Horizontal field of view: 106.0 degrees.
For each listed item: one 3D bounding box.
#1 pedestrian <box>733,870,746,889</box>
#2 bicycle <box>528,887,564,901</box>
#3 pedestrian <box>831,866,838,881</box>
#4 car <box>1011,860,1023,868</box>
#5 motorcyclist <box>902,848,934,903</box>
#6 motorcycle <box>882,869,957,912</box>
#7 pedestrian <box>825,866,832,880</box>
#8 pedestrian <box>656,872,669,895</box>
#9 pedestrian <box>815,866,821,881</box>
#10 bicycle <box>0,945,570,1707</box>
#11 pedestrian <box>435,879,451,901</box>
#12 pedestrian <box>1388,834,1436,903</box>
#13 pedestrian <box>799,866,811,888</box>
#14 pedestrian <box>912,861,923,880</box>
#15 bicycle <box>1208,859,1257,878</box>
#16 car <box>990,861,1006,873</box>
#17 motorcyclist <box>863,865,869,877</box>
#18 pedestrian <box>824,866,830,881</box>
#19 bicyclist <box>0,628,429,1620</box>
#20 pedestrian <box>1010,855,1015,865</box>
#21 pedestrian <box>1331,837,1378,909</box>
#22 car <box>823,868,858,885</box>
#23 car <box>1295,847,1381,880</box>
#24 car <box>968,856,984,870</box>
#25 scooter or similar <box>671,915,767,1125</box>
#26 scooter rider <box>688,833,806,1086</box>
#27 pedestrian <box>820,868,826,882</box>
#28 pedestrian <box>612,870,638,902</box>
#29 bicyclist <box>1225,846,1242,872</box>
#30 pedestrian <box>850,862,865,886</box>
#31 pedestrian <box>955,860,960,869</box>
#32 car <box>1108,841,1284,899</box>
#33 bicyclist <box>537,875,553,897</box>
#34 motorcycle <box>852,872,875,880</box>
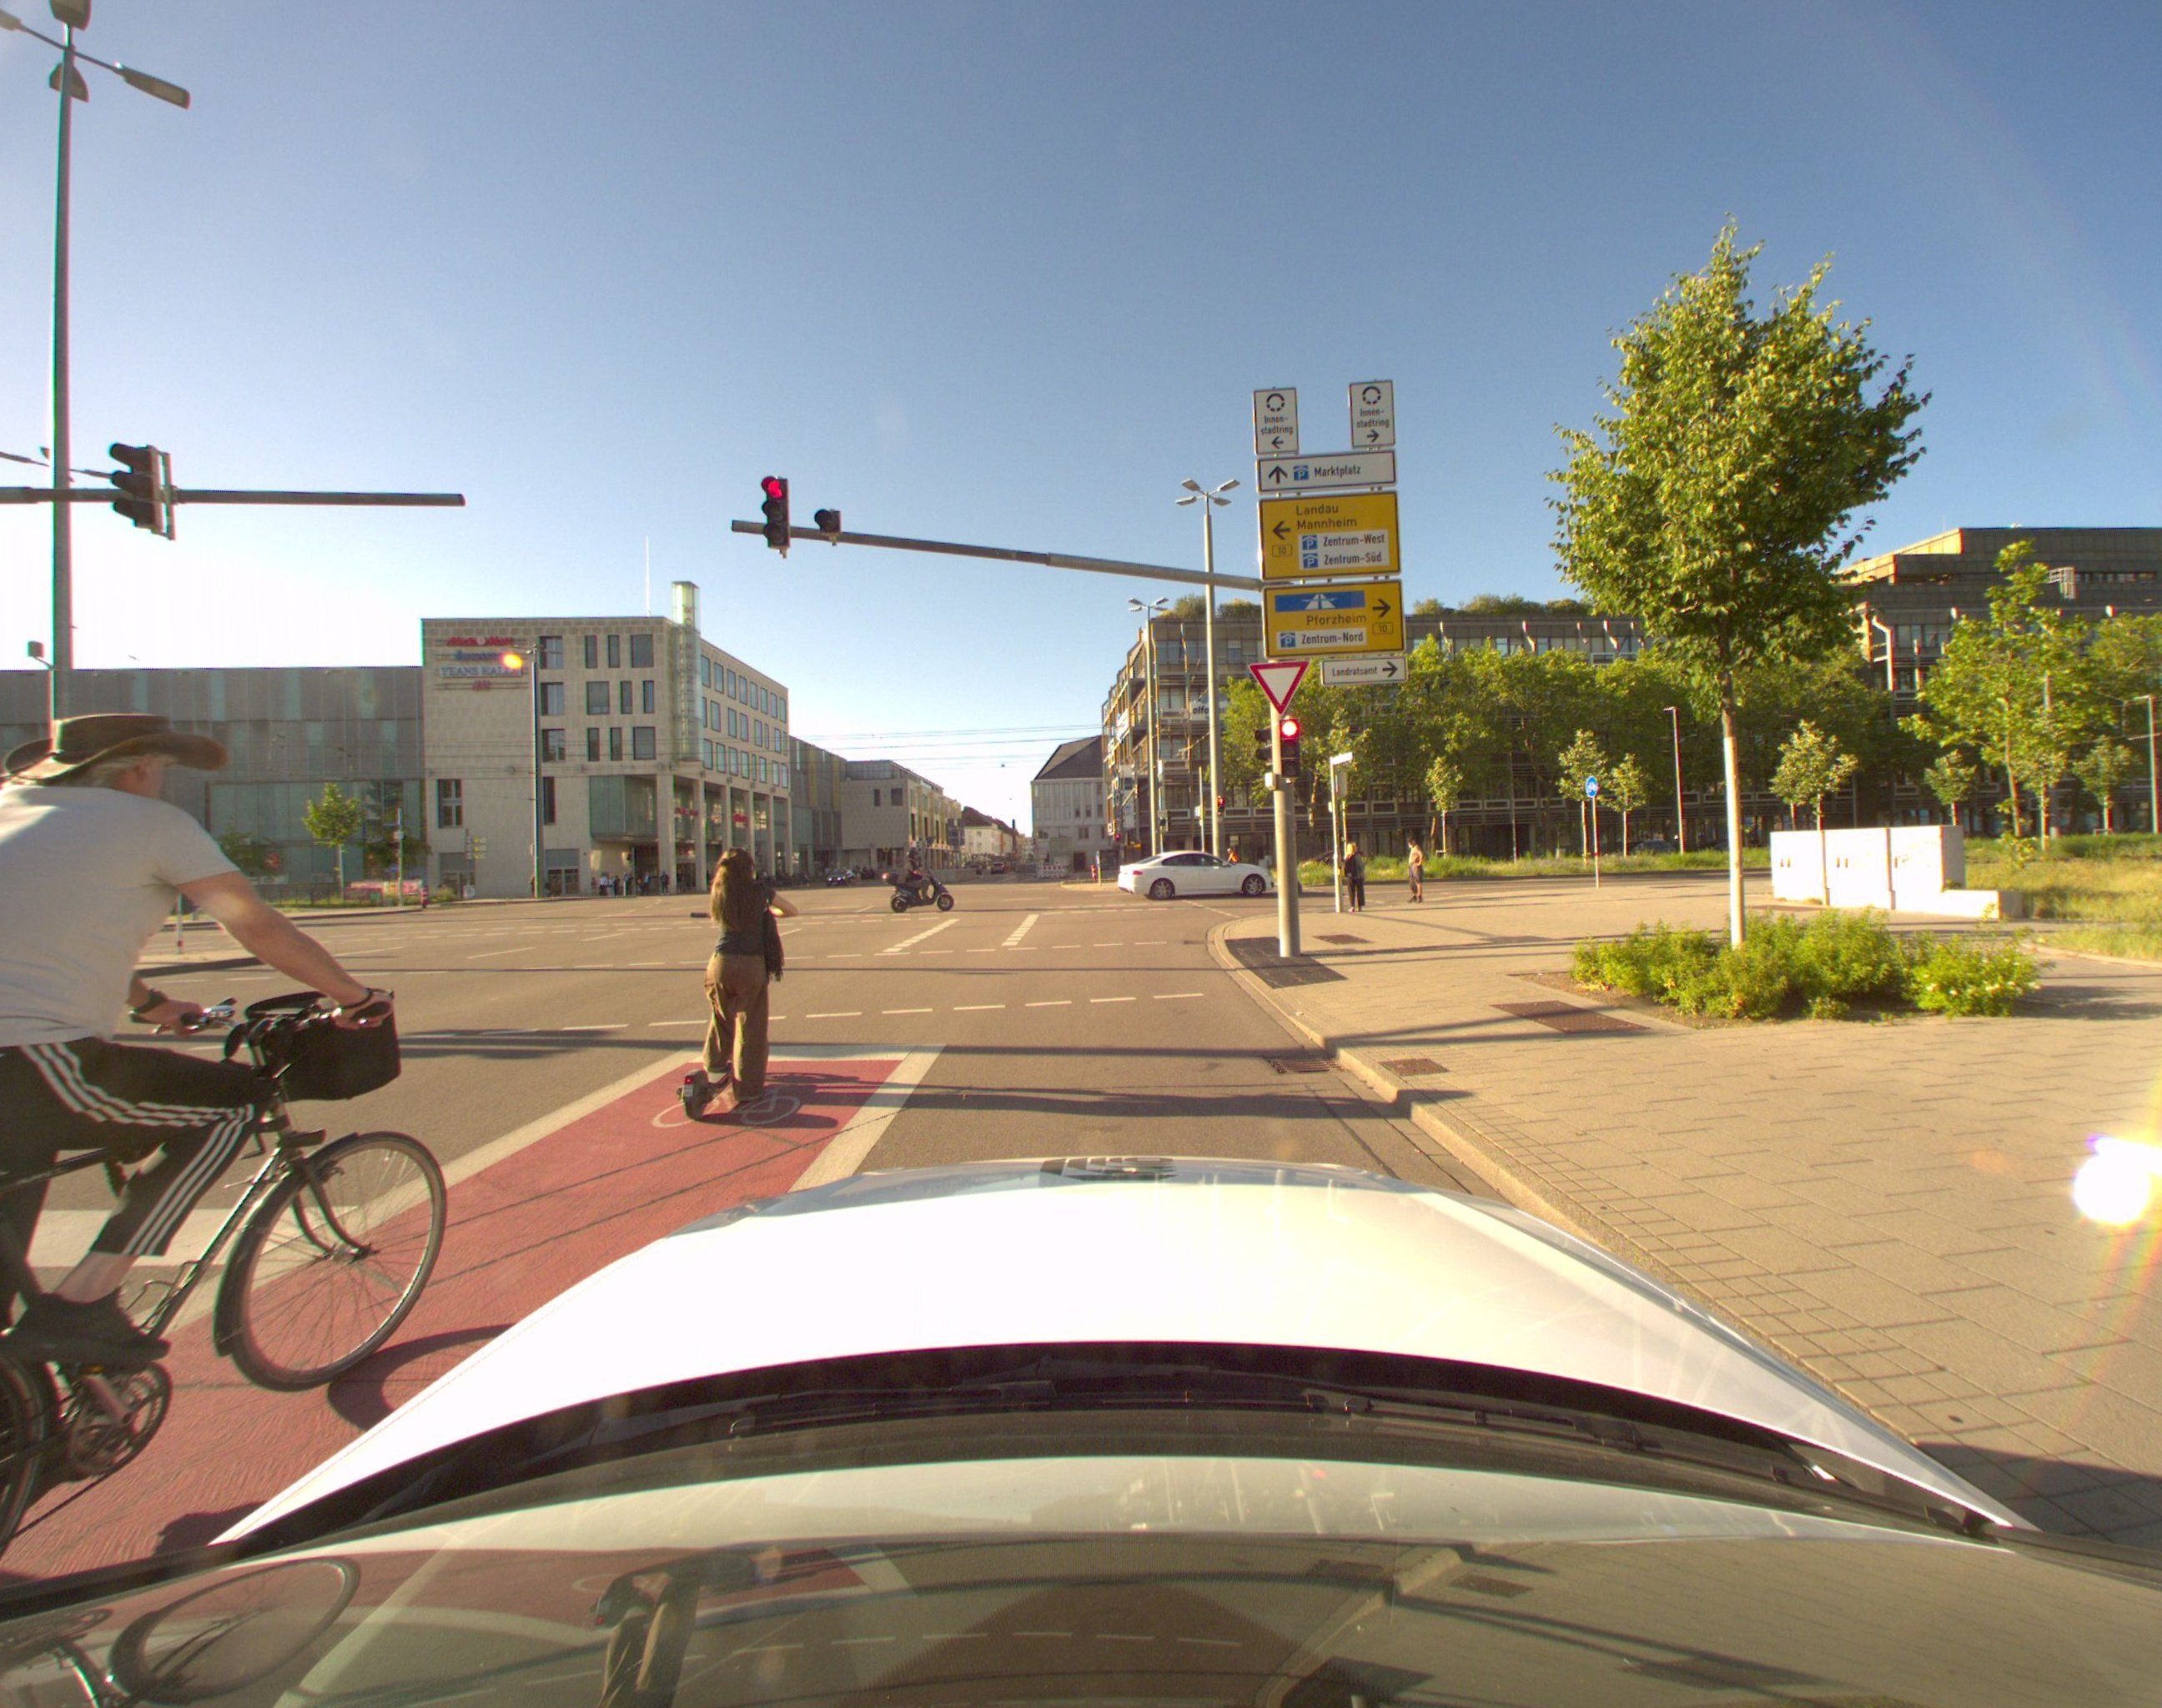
[{"bbox_3d":[-29.695,2.191,70.863,0.771,1.638,0.628,-2,0,13],"label":"pedestrian"},{"bbox_3d":[-36.101,2.689,54.948,2.196,0.903,0.639,-2,0,11],"label":"bicycle"},{"bbox_3d":[-30.077,2.376,99.497,0.465,1.729,0.699,-1,-1,40],"label":"pedestrian"},{"bbox_3d":[-11.470,1.807,146.368,1.652,1.458,3.543,-2,0,2],"label":"car"},{"bbox_3d":[-4.485,0.591,22.445,0.748,1.479,0.598,-2,0,-6],"label":"motorcyclist"},{"bbox_3d":[-4.430,0.991,22.442,1.952,1.100,0.648,-2,0,-6],"label":"motorcycle"},{"bbox_3d":[-31.378,2.399,101.153,0.465,1.729,0.632,-1,-1,30],"label":"pedestrian"},{"bbox_3d":[-30.789,2.139,59.938,0.590,1.646,0.629,-2,0,1],"label":"pedestrian"},{"bbox_3d":[-32.301,2.397,100.048,0.465,1.729,0.524,-1,-1,40],"label":"pedestrian"},{"bbox_3d":[-2.199,0.902,1.903,0.736,1.147,1.891,-2,0,2],"label":"bicycle"},{"bbox_3d":[-45.852,2.595,58.496,0.590,1.541,0.629,-2,0,1],"label":"pedestrian"},{"bbox_3d":[8.539,0.363,21.015,0.869,1.706,0.768,-2,0,0],"label":"pedestrian"},{"bbox_3d":[-21.705,1.822,64.056,0.697,1.688,0.620,-2,0,2],"label":"pedestrian"},{"bbox_3d":[-16.103,1.601,80.319,0.896,1.782,0.809,-2,0,1],"label":"pedestrian"},{"bbox_3d":[8.744,0.818,47.061,2.561,0.975,1.047,-2,0,-1],"label":"bicycle"},{"bbox_3d":[-11.016,1.751,108.532,1.652,1.458,3.543,-2,0,2],"label":"car"},{"bbox_3d":[-26.187,2.094,99.067,0.627,1.406,0.661,0,-1,-7],"label":"motorcyclist"},{"bbox_3d":[-30.818,2.376,98.813,0.465,1.729,0.632,-1,-1,35],"label":"pedestrian"},{"bbox_3d":[-2.237,0.471,1.828,0.802,1.700,0.852,-2,0,1],"label":"bicyclist"},{"bbox_3d":[-13.903,1.272,165.265,0.907,1.965,0.823,0,-1,1],"label":"pedestrian"},{"bbox_3d":[6.338,0.433,18.923,0.763,1.614,0.874,-2,0,0],"label":"pedestrian"},{"bbox_3d":[-20.767,1.927,70.459,1.670,1.357,4.021,-2,0,1],"label":"car"},{"bbox_3d":[14.549,0.530,46.221,4.287,1.684,1.820,-2,0,-9],"label":"car"},{"bbox_3d":[-13.438,1.119,104.189,1.816,1.684,3.993,-2,0,-5],"label":"car"},{"bbox_3d":[-2.204,0.963,5.008,0.306,1.107,0.835,-2,0,-9],"label":"scooter or similar"},{"bbox_3d":[-2.129,0.644,5.228,0.552,1.530,0.448,-2,0,-7],"label":"scooter rider"},{"bbox_3d":[-32.153,2.568,101.350,0.465,1.729,0.524,-1,-1,40],"label":"pedestrian"},{"bbox_3d":[-25.118,1.762,44.914,0.821,1.675,1.004,-2,0,-2],"label":"pedestrian"},{"bbox_3d":[8.826,0.307,47.076,0.820,1.474,0.652,-2,0,-2],"label":"bicyclist"},{"bbox_3d":[-17.646,1.581,64.319,0.935,1.864,0.541,-2,0,18],"label":"pedestrian"},{"bbox_3d":[-21.827,1.800,143.857,0.678,1.598,0.841,-2,0,11],"label":"pedestrian"},{"bbox_3d":[3.560,0.484,25.609,5.083,1.564,1.993,-2,0,-10],"label":"car"},{"bbox_3d":[-36.177,2.171,54.969,0.583,1.448,0.630,-2,0,11],"label":"bicyclist"},{"bbox_3d":[-26.354,2.663,98.854,2.600,0.993,1.113,0,-1,-8],"label":"motorcycle"}]
